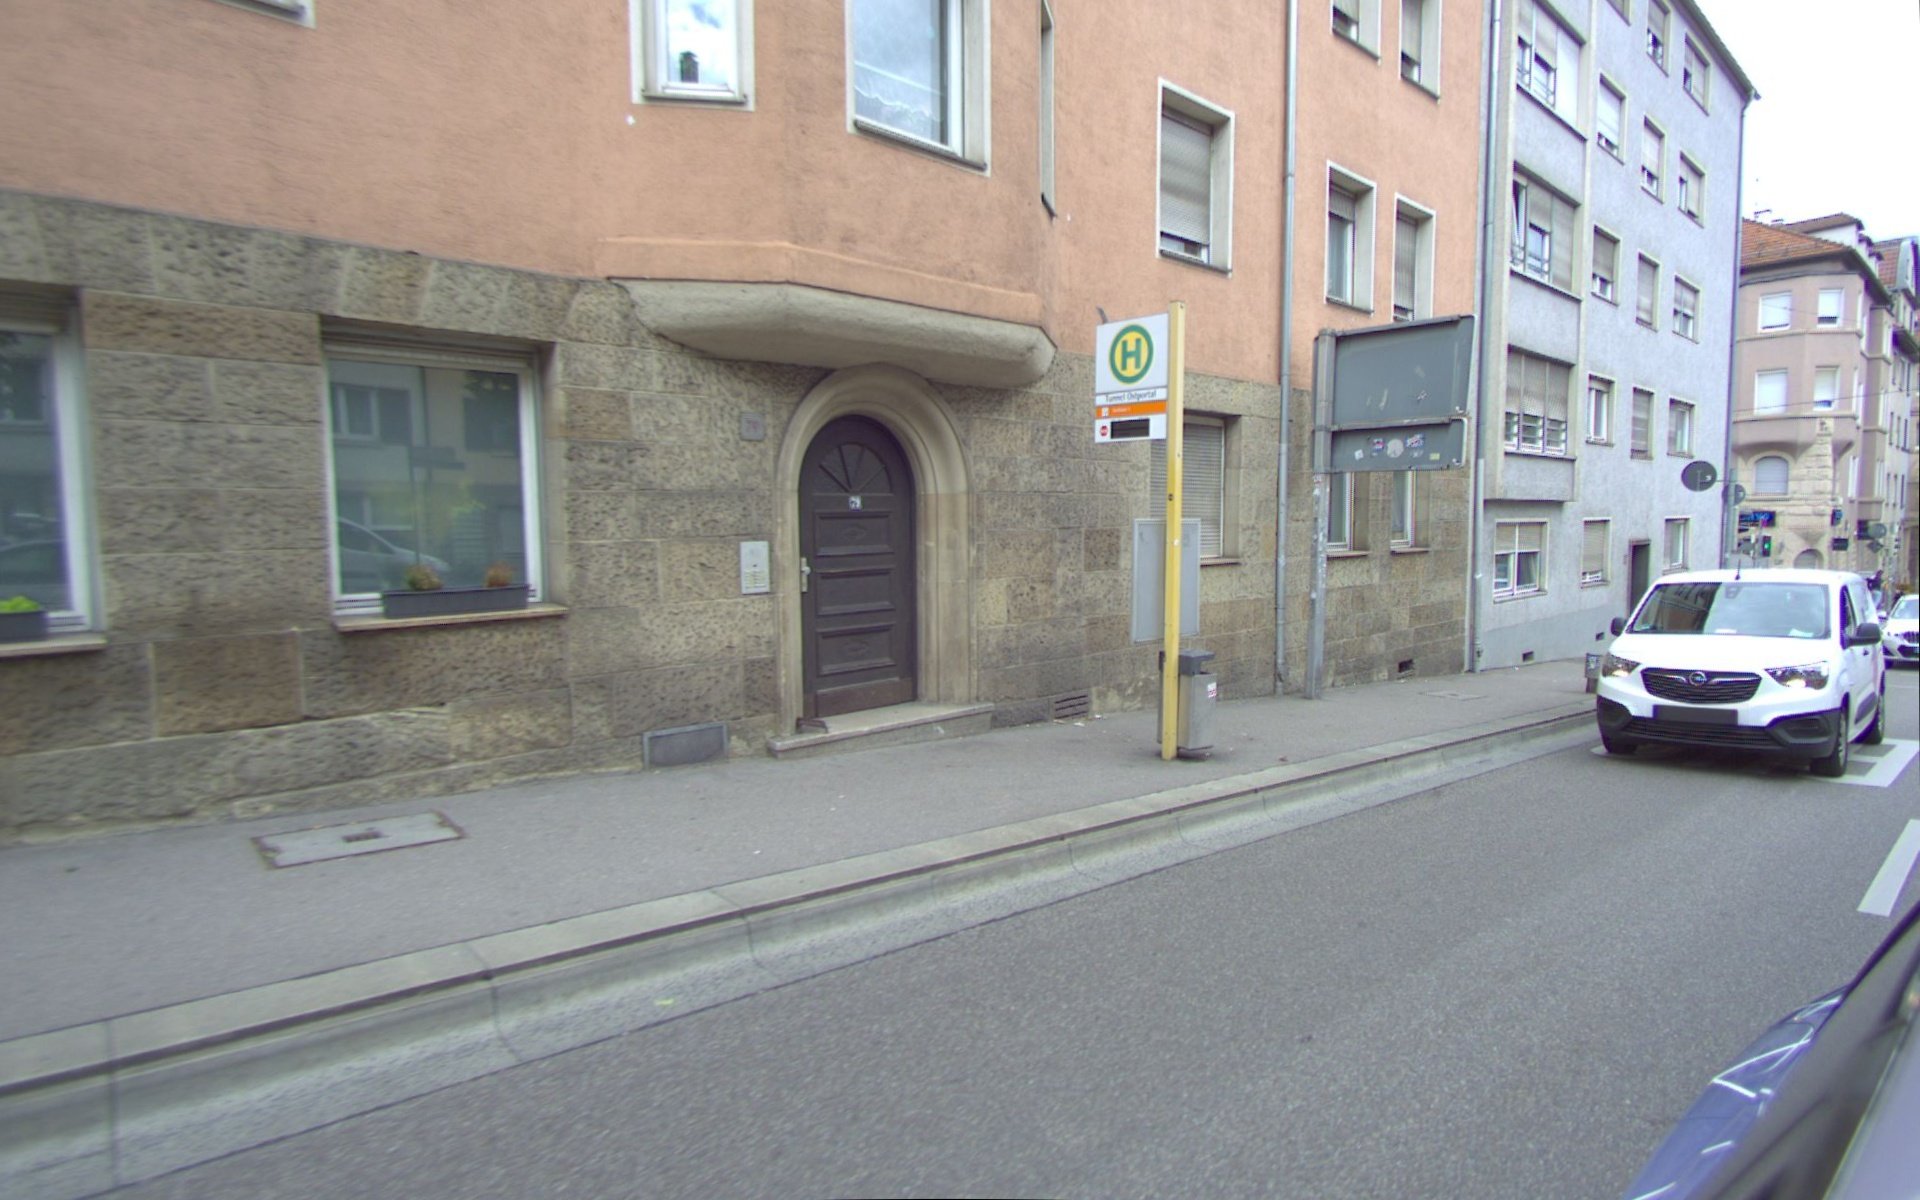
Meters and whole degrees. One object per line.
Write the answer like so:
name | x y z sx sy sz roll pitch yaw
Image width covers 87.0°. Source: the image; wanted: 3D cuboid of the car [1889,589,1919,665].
car | 22.267 0.561 22.711 4.093 1.628 1.777 0 0 -43

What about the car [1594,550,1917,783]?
car | 8.131 0.482 10.158 4.761 1.811 1.786 -1 1 -42

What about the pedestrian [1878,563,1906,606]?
pedestrian | 36.487 -0.612 39.632 0.988 1.668 0.733 -1 2 -44
